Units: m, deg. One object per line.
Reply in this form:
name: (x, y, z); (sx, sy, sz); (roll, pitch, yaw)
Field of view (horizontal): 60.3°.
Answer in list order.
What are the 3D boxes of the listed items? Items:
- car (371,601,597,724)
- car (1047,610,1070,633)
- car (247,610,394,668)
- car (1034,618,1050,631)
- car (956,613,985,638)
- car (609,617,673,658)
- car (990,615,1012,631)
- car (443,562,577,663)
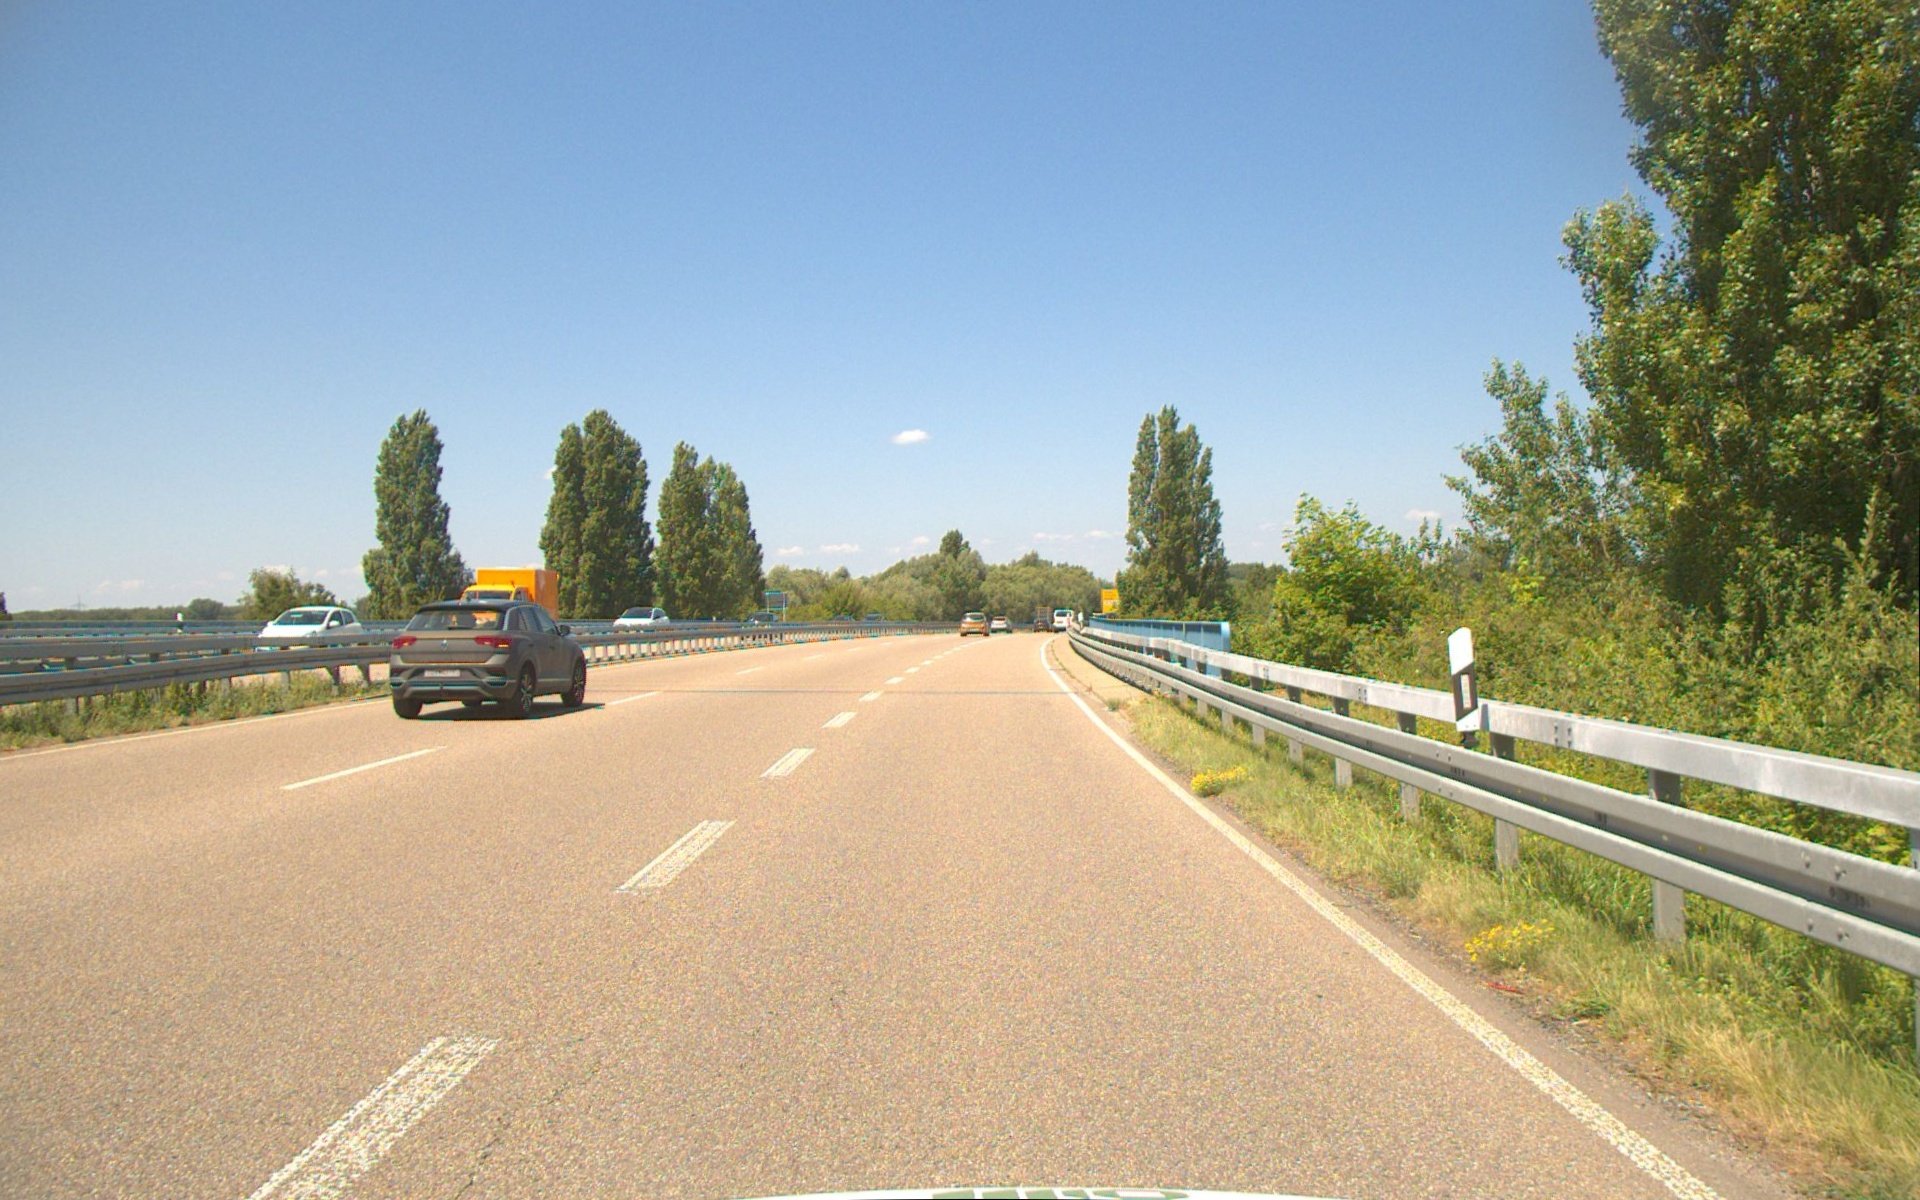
car: (-6.560, 0.798, 23.321); (1.803, 1.556, 4.470); (0, 0, 1)
car: (8.599, 1.824, 143.684); (1.802, 1.929, 4.003); (0, 0, 6)
car: (-17.099, 1.013, 44.508); (1.814, 1.457, 4.797); (-1, -1, 4)
car: (9.954, 3.010, 200.993); (1.903, 1.490, 4.002); (0, 0, 4)
car: (0.674, 1.608, 105.176); (1.803, 1.490, 4.000); (0, 0, 0)
car: (-14.975, 1.754, 77.970); (1.814, 1.850, 4.796); (-1, -1, 3)
car: (3.936, 2.182, 158.164); (1.802, 1.476, 4.002); (0, 0, 5)
car: (-15.869, 0.441, 58.792); (2.256, 3.349, 7.032); (-1, -1, 5)
